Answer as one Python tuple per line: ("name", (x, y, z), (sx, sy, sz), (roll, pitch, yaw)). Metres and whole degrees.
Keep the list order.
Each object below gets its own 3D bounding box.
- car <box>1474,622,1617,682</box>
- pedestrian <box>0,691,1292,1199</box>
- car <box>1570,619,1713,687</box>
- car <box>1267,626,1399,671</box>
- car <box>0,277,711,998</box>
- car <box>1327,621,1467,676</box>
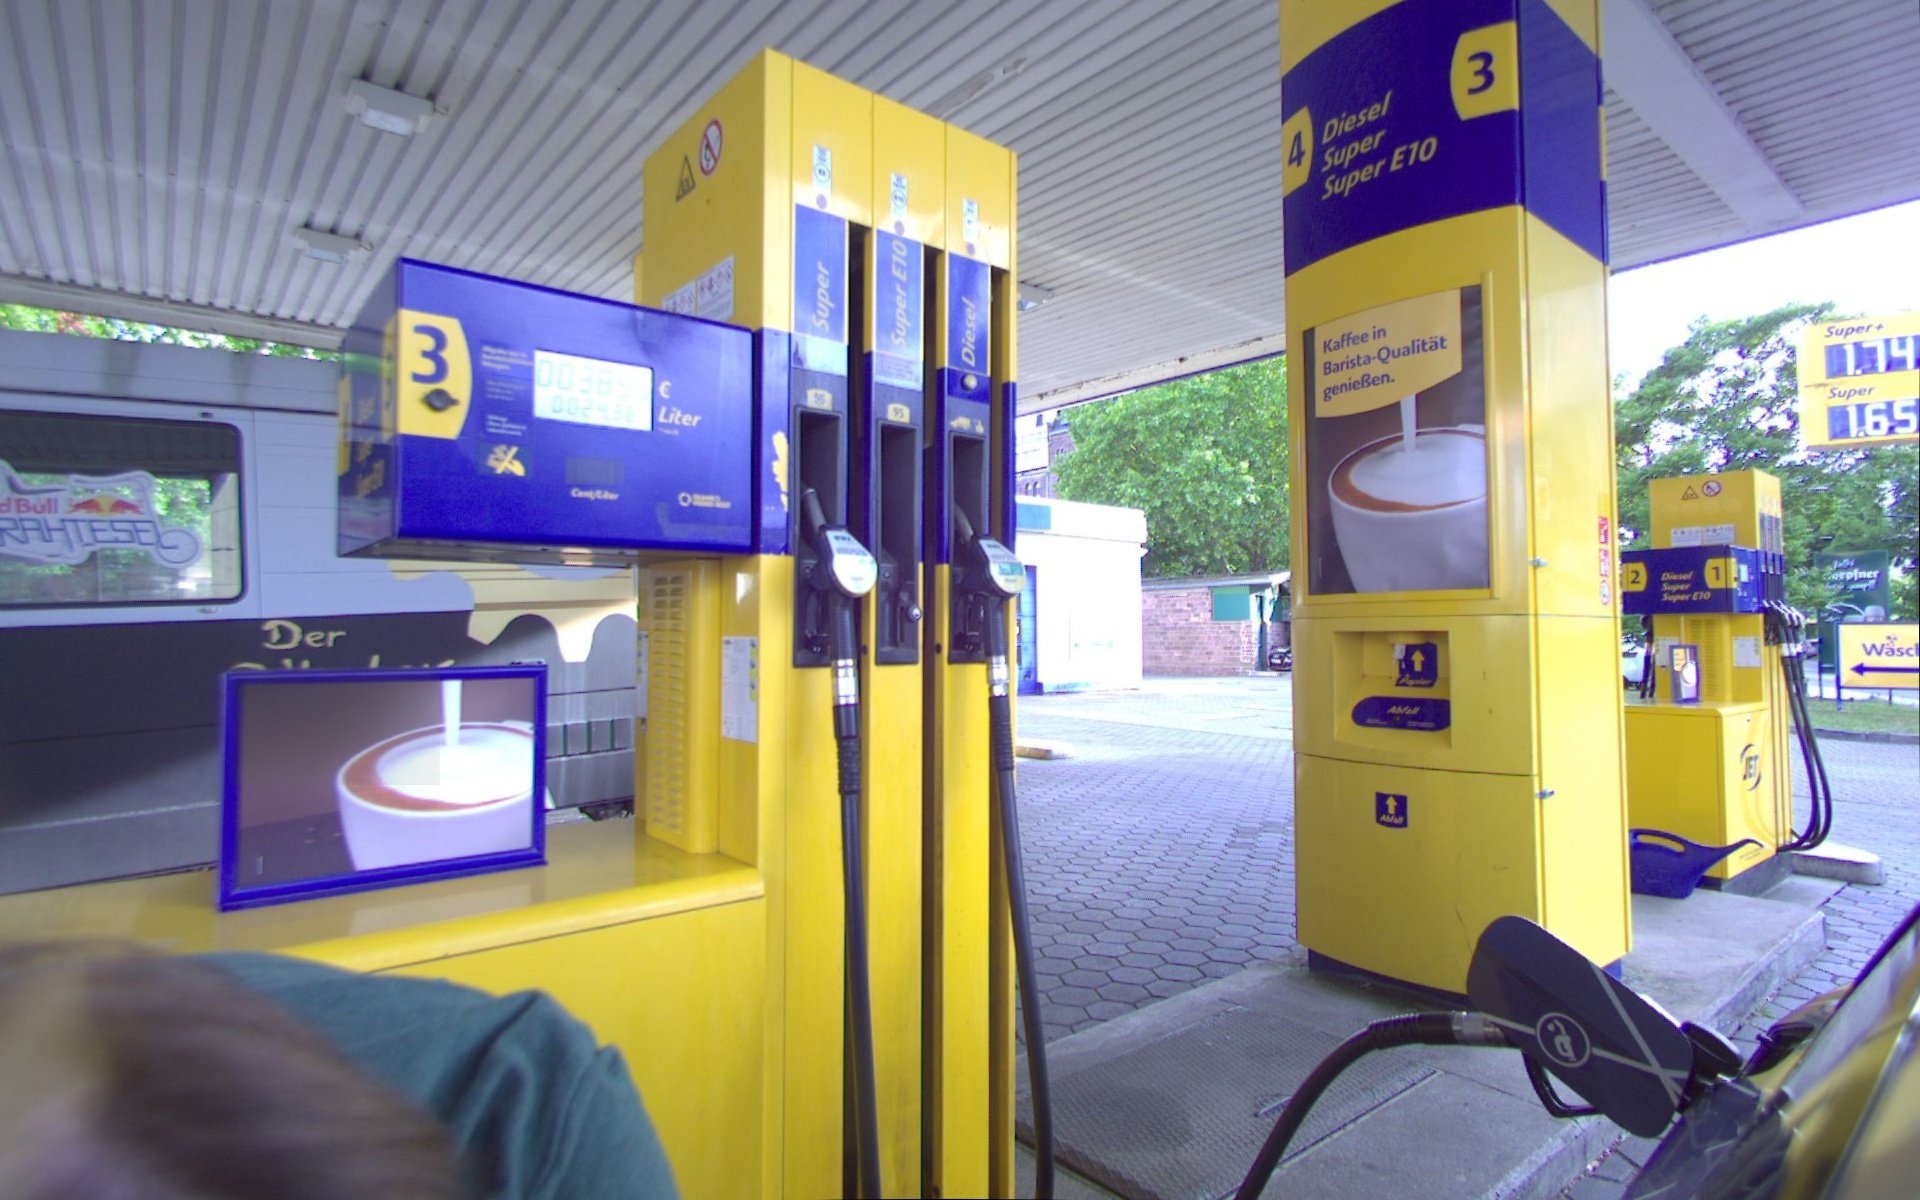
("car", (17.853, 1.592, 30.807), (4.303, 1.622, 1.776), (4, -4, -28))
("pedestrian", (-0.329, 0.749, 0.552), (0.662, 1.298, 0.751), (0, 0, -41))
("car", (18.362, 1.449, 27.208), (4.308, 1.622, 1.774), (4, -4, -35))
("car", (12.697, 1.656, 34.433), (4.303, 1.393, 1.777), (2, -1, -28))
("car", (-4.104, 0.161, 4.900), (5.197, 2.726, 2.258), (1, -2, -39))
("car", (13.893, 1.533, 32.142), (4.303, 1.622, 1.777), (2, -1, -28))
